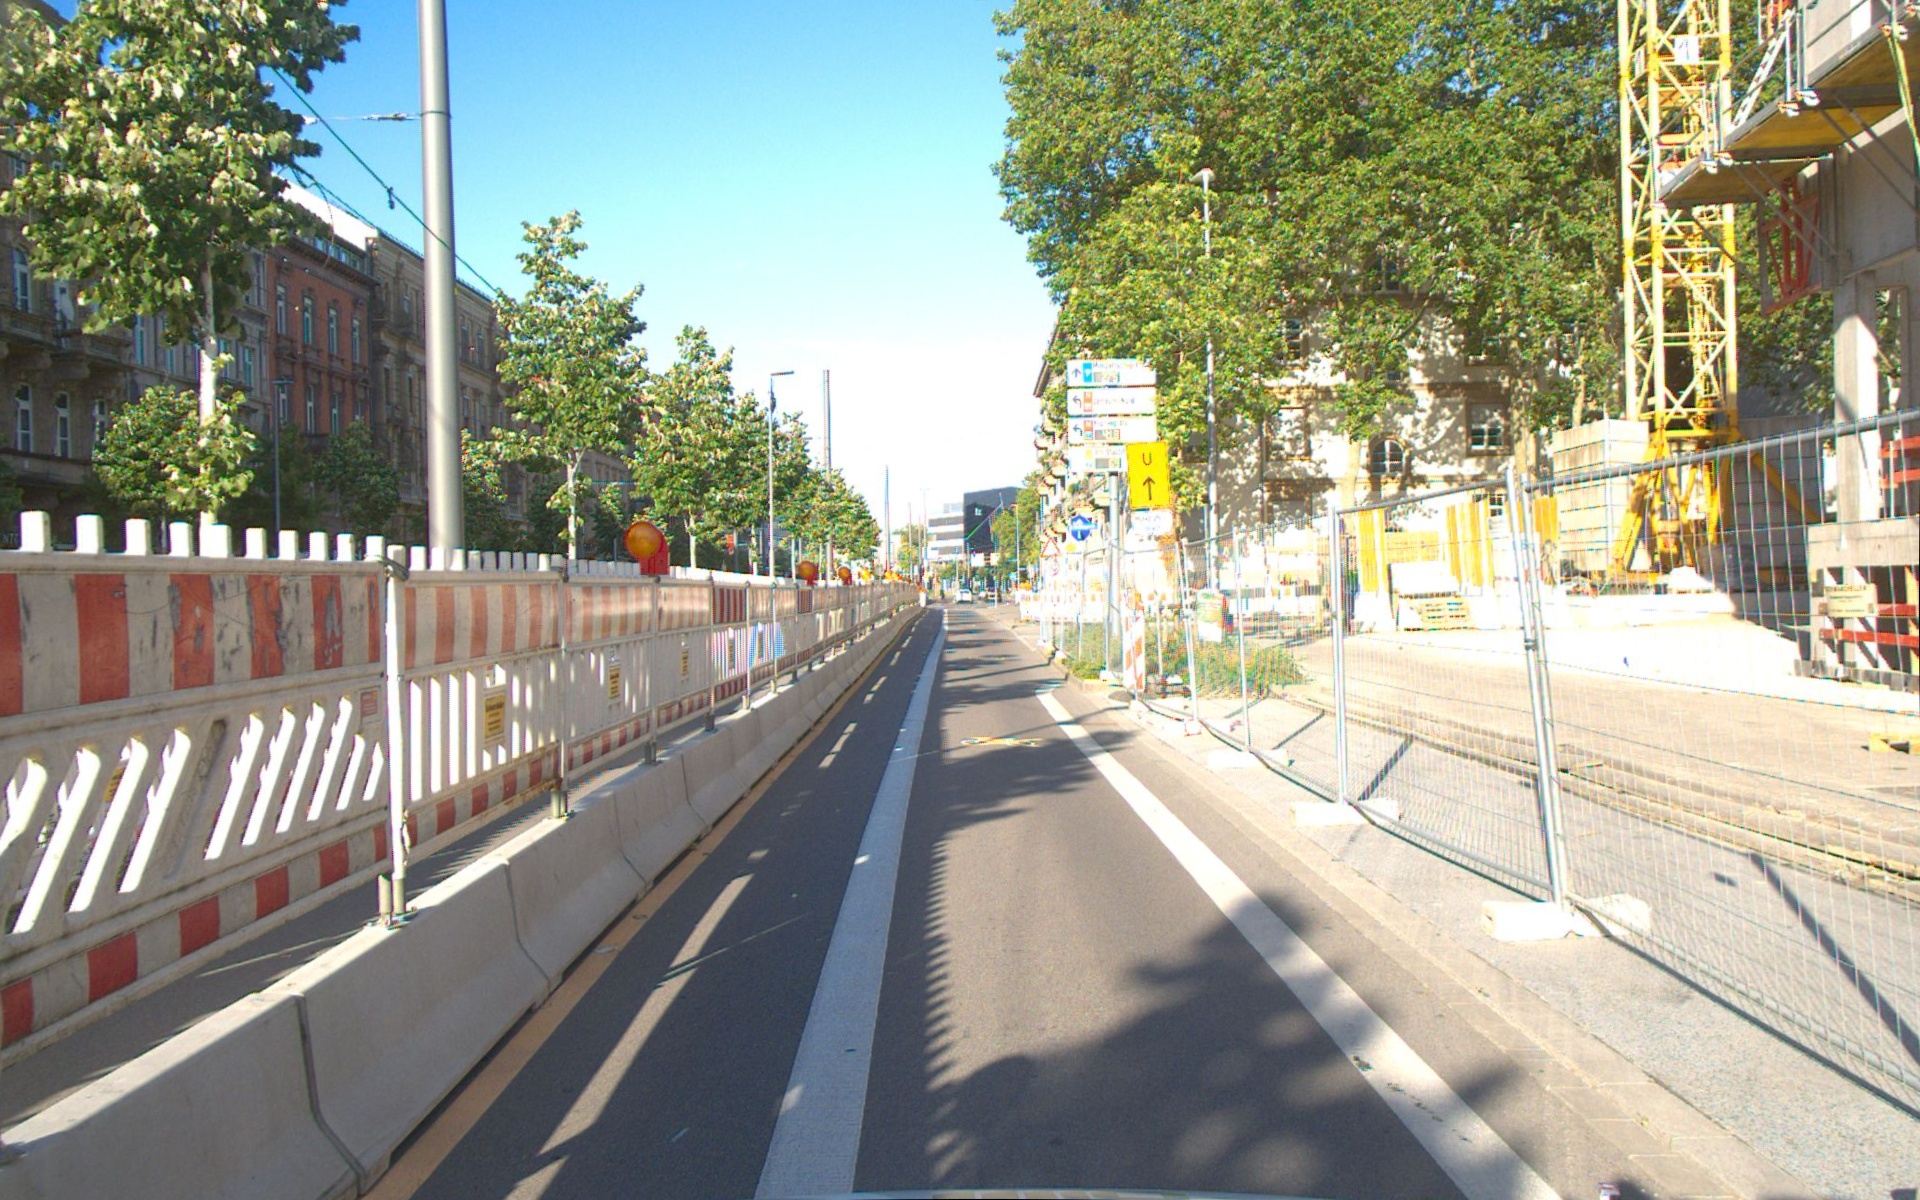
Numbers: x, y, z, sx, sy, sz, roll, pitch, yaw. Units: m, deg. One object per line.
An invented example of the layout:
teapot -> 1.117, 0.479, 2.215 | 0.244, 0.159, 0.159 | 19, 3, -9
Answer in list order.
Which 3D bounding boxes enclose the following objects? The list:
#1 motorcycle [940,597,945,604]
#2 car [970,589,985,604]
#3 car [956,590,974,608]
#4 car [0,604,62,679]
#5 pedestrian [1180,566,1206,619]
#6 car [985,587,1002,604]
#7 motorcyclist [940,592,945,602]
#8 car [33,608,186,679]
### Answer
motorcycle -> -2.314, 0.040, 216.225 | 0.618, 0.912, 1.621 | -1, 1, 0
car -> 2.347, -0.446, 221.477 | 1.845, 1.875, 3.667 | -1, 1, 0
car -> 0.519, -0.129, 180.857 | 1.845, 1.875, 3.667 | -1, 1, 0
car -> -21.832, 0.948, 36.416 | 1.534, 1.590, 4.714 | -1, 1, 0
pedestrian -> 7.951, -0.264, 56.390 | 0.759, 1.776, 0.671 | -1, 1, 0
car -> 3.918, -0.506, 194.104 | 1.845, 1.875, 3.667 | -1, 1, 0
motorcyclist -> -2.329, -0.439, 216.303 | 0.618, 1.285, 0.605 | -1, 1, -1
car -> -21.829, 1.076, 42.672 | 1.534, 1.590, 4.714 | -1, 1, -1
